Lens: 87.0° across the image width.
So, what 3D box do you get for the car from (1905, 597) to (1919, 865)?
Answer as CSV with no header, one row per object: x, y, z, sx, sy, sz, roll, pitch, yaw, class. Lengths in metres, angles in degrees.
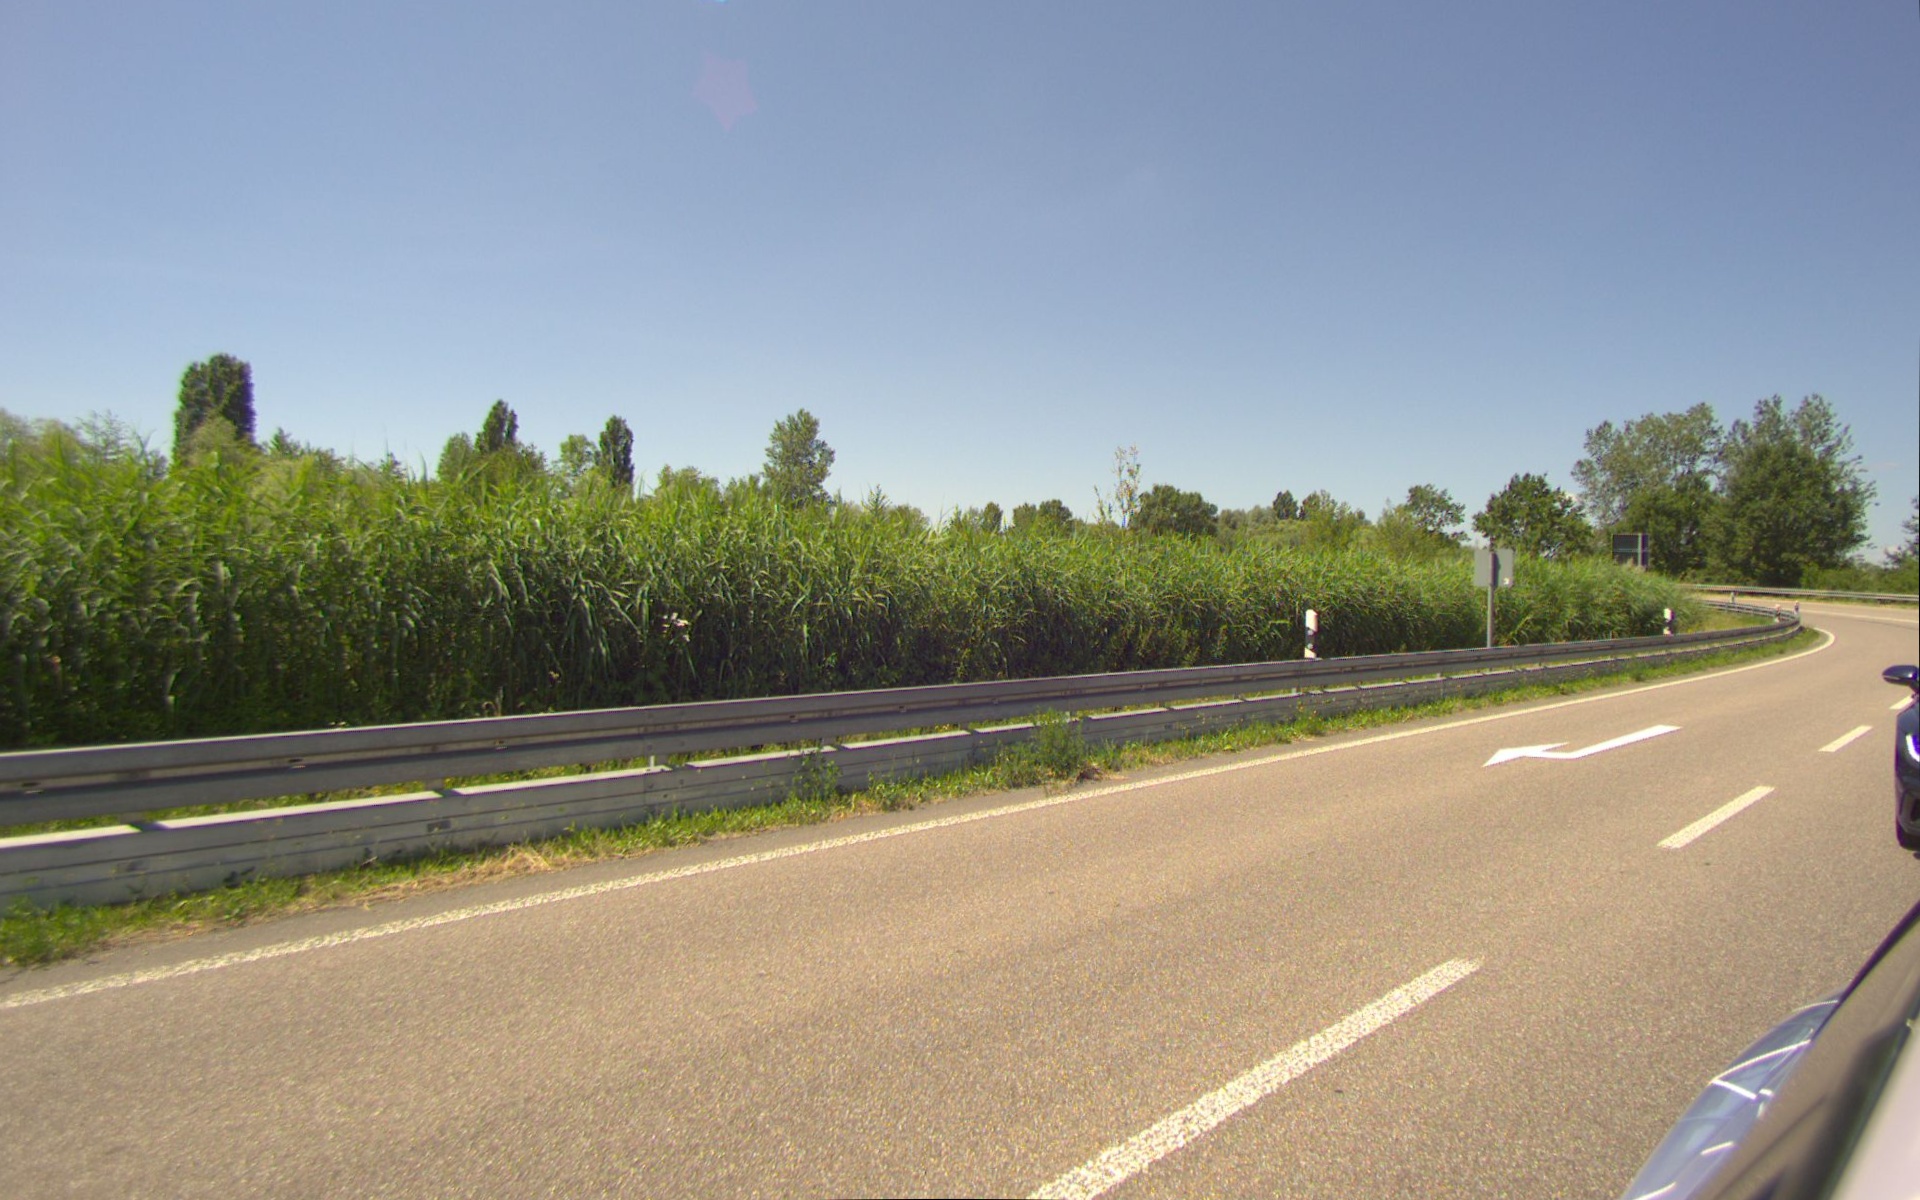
7.149,0.693,6.101,3.931,1.427,1.759,-1,1,-41,car
